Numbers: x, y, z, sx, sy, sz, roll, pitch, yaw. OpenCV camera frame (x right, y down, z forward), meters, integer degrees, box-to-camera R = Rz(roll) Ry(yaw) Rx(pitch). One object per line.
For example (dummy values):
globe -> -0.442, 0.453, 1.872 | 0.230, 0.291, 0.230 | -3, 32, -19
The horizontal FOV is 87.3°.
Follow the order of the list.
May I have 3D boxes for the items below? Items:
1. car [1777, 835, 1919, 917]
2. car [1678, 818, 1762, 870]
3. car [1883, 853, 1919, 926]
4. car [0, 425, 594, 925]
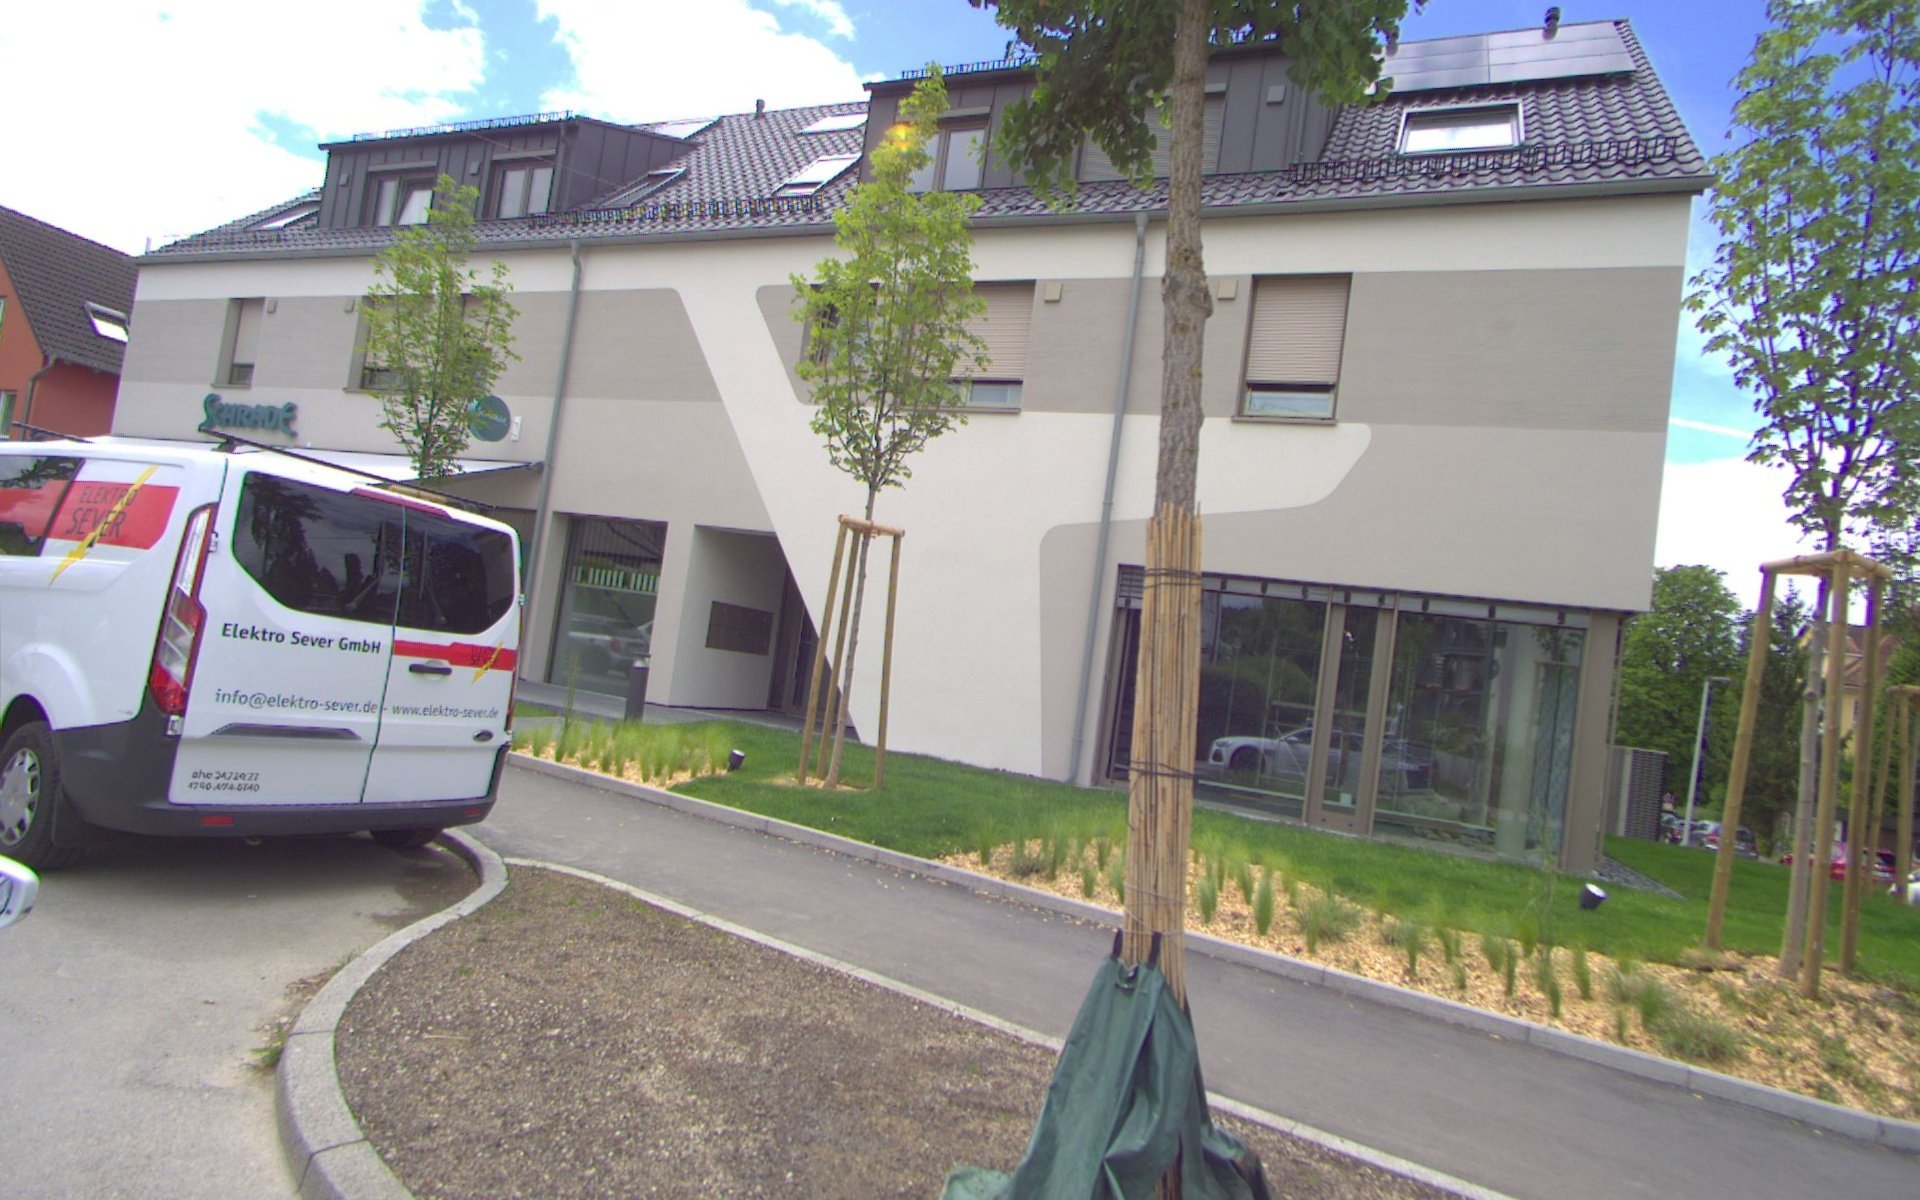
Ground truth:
car -> 24.726, 7.627, 28.138 | 1.631, 1.559, 3.905 | 6, -6, 21
car -> 30.017, 9.617, 39.854 | 1.631, 1.464, 3.468 | 6, -6, 21
car -> 23.160, 6.888, 23.128 | 1.631, 1.559, 3.354 | 6, -6, 21
car -> -4.737, 0.227, 5.888 | 4.818, 1.934, 1.967 | 6, -6, 29
